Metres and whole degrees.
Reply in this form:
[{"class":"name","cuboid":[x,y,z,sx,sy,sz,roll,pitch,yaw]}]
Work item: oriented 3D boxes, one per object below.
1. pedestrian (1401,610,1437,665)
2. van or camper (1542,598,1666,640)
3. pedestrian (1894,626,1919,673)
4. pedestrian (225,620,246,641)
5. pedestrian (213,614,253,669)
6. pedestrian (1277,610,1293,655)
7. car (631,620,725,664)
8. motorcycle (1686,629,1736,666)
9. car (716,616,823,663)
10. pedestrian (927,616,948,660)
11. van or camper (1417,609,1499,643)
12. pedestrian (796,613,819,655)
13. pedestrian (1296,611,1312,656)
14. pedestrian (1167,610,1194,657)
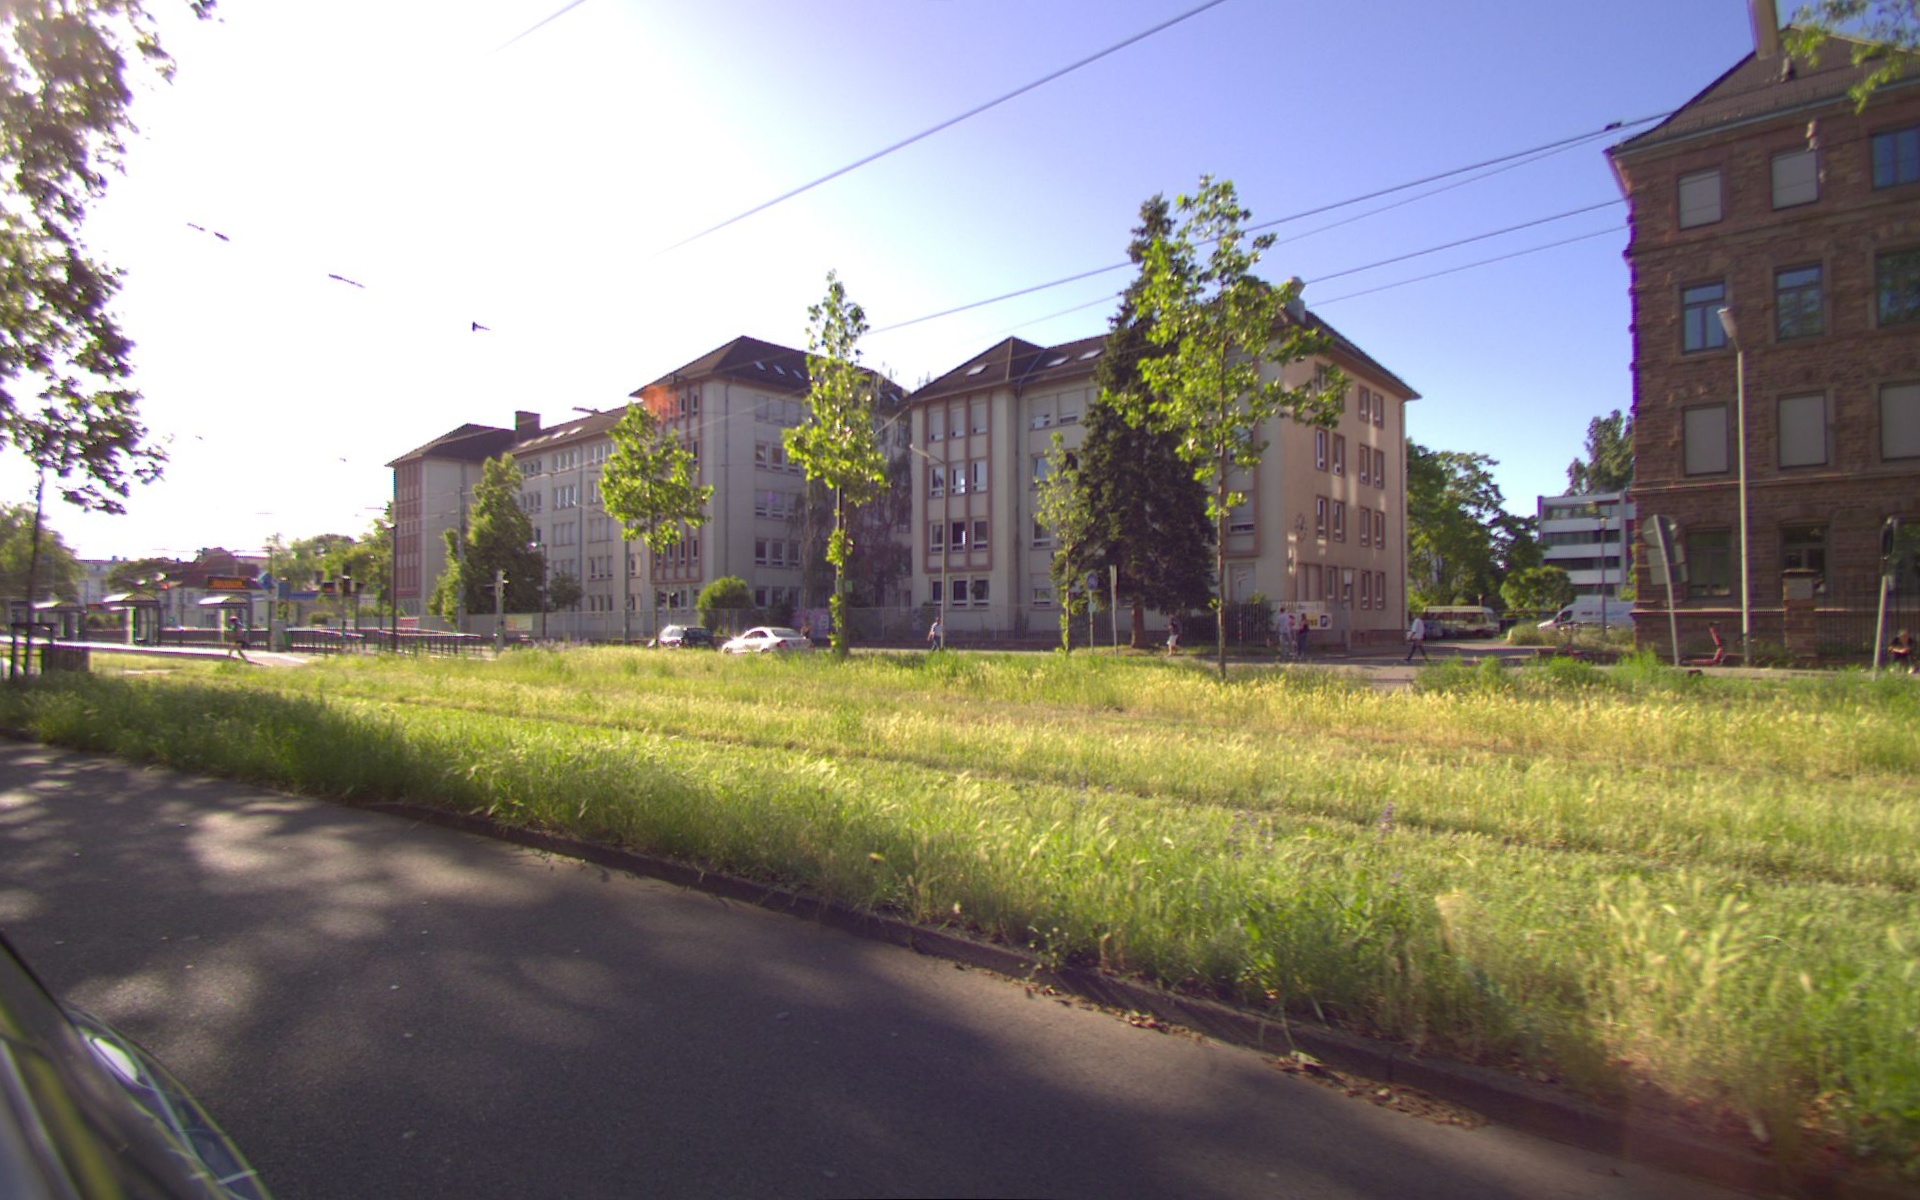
[{"class":"pedestrian","cuboid":[14.548,1.187,32.113,0.875,1.708,0.679,-1,-2,13]},{"class":"van or camper","cuboid":[42.475,1.281,66.892,6.662,2.663,1.973,-2,-2,40]},{"class":"pedestrian","cuboid":[22.808,1.191,24.226,0.586,1.108,0.440,-2,-2,37]},{"class":"pedestrian","cuboid":[-48.619,2.037,67.895,0.878,1.386,0.965,-2,-2,40]},{"class":"pedestrian","cuboid":[-23.776,1.344,33.097,0.730,1.749,0.942,-2,-2,43]},{"class":"pedestrian","cuboid":[12.314,1.224,38.331,0.371,1.708,0.449,1,-2,-43]},{"class":"car","cuboid":[-11.693,1.729,41.844,4.151,1.720,1.971,-2,-2,45]},{"class":"motorcycle","cuboid":[19.817,1.243,26.719,1.043,0.953,0.331,-2,-2,38]},{"class":"car","cuboid":[-7.066,1.438,37.240,1.744,1.635,4.480,1,-2,-43]},{"class":"pedestrian","cuboid":[-0.971,1.606,43.152,0.572,1.851,0.685,-2,-2,40]},{"class":"van or camper","cuboid":[40.253,2.115,81.903,5.629,2.663,1.973,-2,-2,41]},{"class":"pedestrian","cuboid":[-7.304,1.625,48.472,0.860,2.029,0.656,-2,-2,40]},{"class":"pedestrian","cuboid":[13.086,1.262,38.512,0.371,1.708,0.449,1,-2,-42]},{"class":"pedestrian","cuboid":[8.139,1.241,37.353,0.819,1.708,0.677,-1,-2,22]}]
